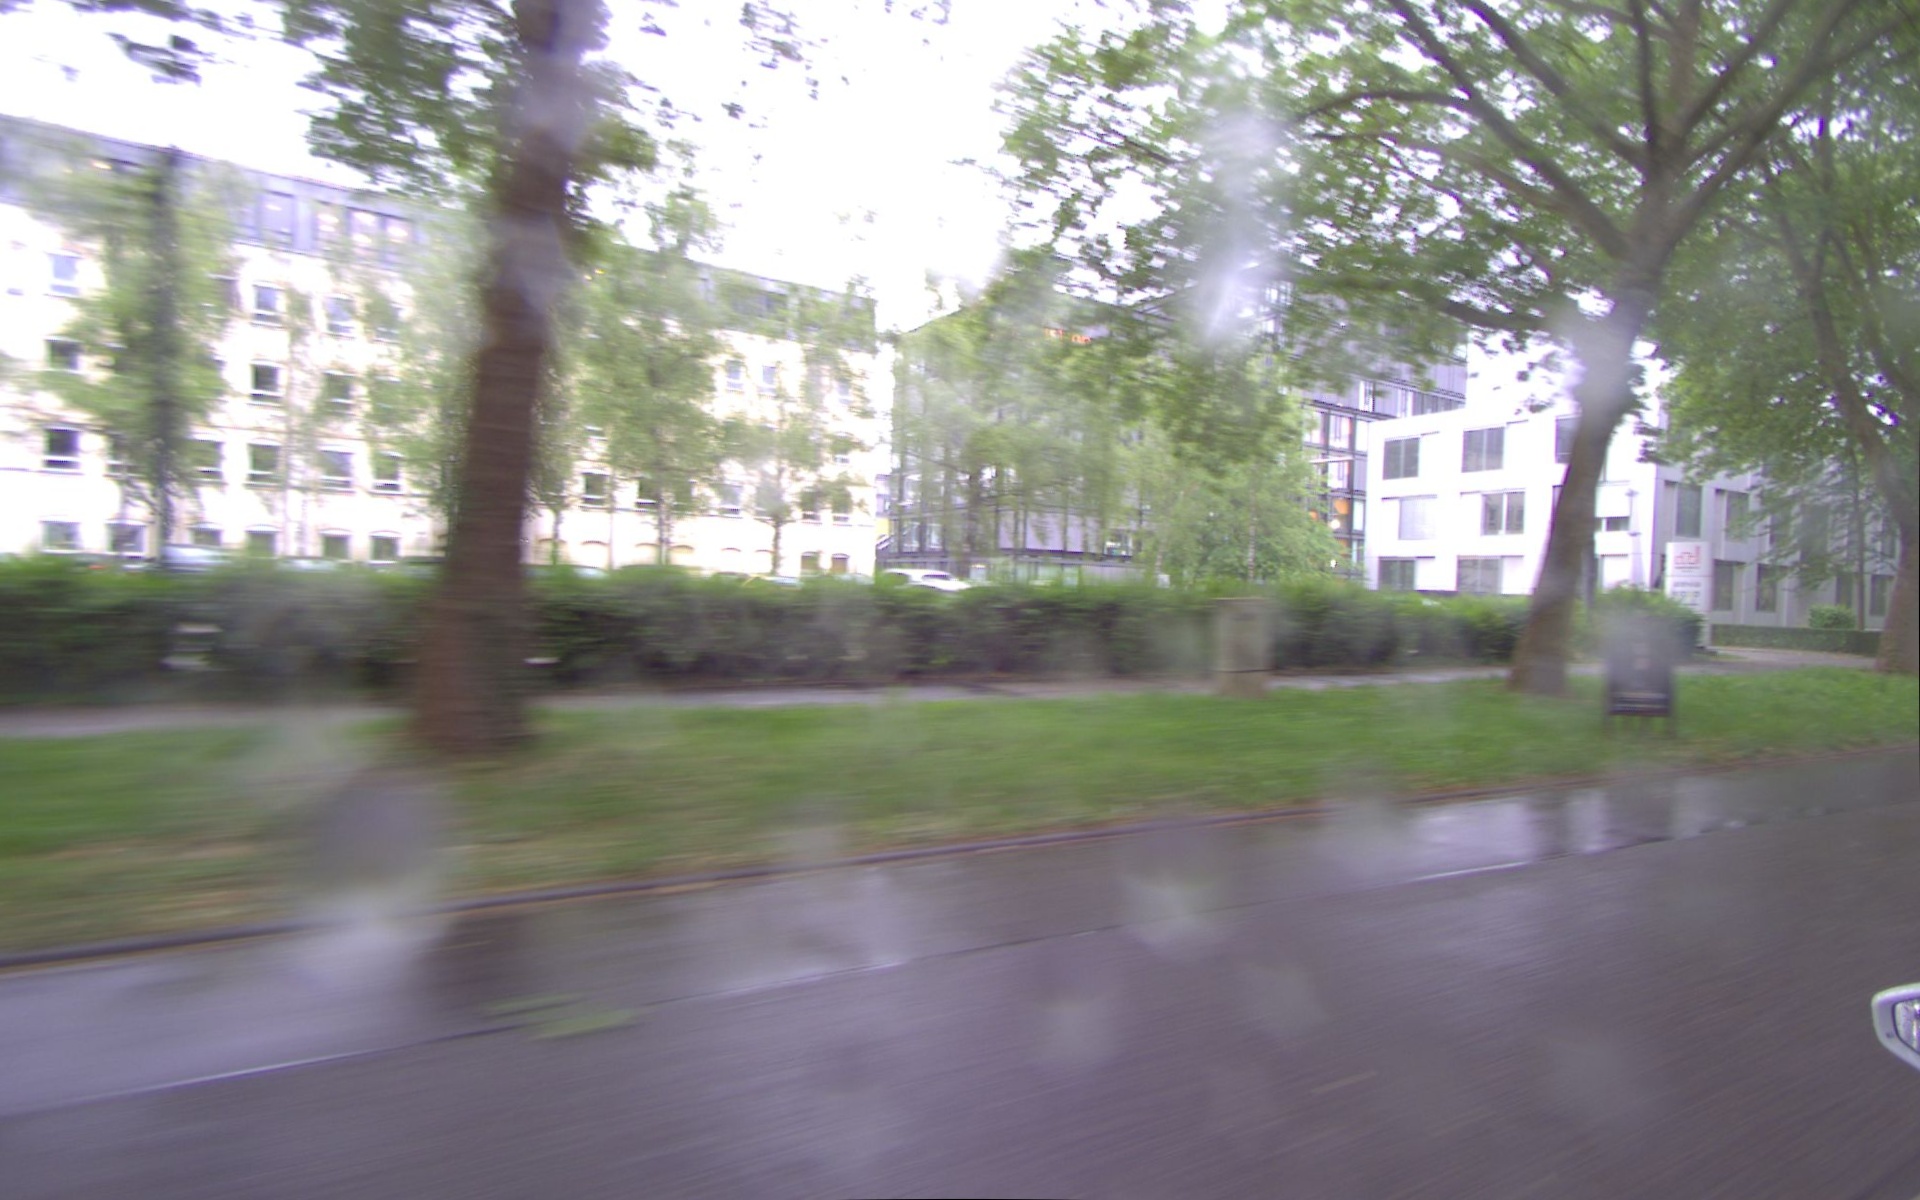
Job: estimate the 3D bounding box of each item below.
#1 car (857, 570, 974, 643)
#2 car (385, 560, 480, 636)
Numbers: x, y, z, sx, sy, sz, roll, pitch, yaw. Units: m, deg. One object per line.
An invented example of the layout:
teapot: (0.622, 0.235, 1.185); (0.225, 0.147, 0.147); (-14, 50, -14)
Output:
car: (-1.417, 0.191, 30.322); (1.975, 2.040, 3.971); (1, 0, -28)
car: (-12.488, -0.087, 23.672); (1.800, 1.617, 3.967); (1, 2, -30)
